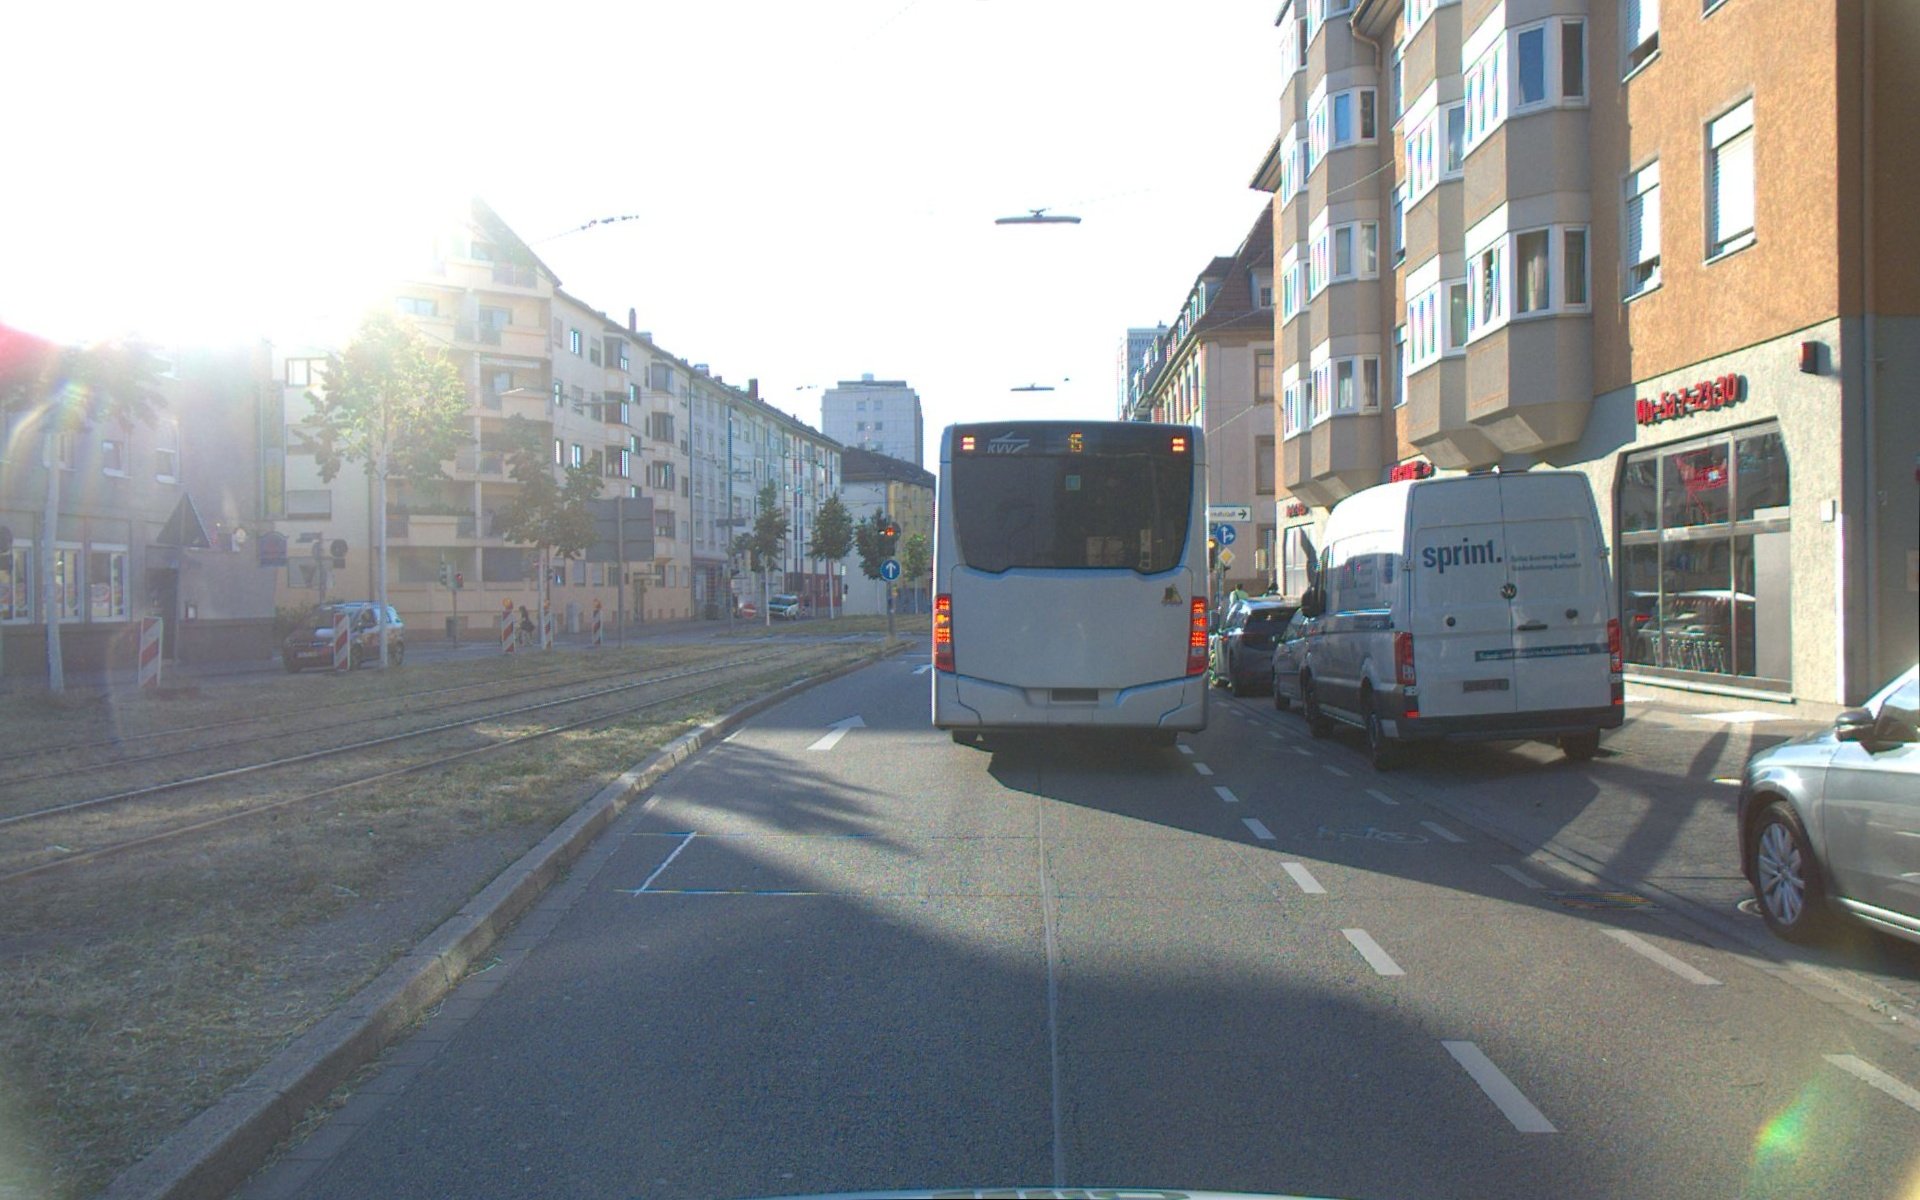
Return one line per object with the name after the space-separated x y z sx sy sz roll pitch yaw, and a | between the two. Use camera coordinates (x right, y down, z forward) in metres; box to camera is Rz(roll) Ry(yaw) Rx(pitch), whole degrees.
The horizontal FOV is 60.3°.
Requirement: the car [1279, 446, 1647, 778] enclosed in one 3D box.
4.703 0.096 16.548 1.975 2.595 5.786 -4 0 2 | car

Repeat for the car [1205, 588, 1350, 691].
5.248 0.615 27.838 1.800 1.563 4.231 -1 0 3 | car

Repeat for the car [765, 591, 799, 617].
-13.160 0.278 122.482 1.774 1.829 4.247 -1 0 4 | car

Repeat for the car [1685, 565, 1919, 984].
4.412 0.624 5.831 1.662 1.557 4.653 -4 0 1 | car

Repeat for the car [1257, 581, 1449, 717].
5.120 0.593 22.029 1.800 1.616 3.787 -1 0 3 | car

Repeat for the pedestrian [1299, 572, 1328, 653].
8.017 0.283 37.510 0.535 1.815 0.449 1 -1 2 | pedestrian

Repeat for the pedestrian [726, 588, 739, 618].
-15.736 0.215 114.346 0.770 2.049 0.890 -1 0 -1 | pedestrian

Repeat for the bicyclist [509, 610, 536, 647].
-17.602 1.145 66.540 0.518 1.472 0.963 -1 0 33 | bicyclist

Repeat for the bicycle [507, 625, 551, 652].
-17.401 1.548 66.786 0.518 1.001 1.878 -1 0 33 | bicycle

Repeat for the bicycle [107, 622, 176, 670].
-20.228 1.124 40.912 0.731 1.134 1.779 -1 0 3 | bicycle

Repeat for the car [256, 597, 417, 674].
-15.325 0.832 40.965 1.774 1.587 4.938 -2 1 4 | car

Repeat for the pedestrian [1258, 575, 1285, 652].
7.408 0.320 39.345 0.535 1.815 0.450 -1 0 2 | pedestrian

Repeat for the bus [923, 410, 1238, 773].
1.244 -0.088 18.734 2.681 3.109 8.856 1 0 3 | bus

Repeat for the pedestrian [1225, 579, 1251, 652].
7.032 0.383 41.836 0.536 1.815 0.449 -1 0 -3 | pedestrian
